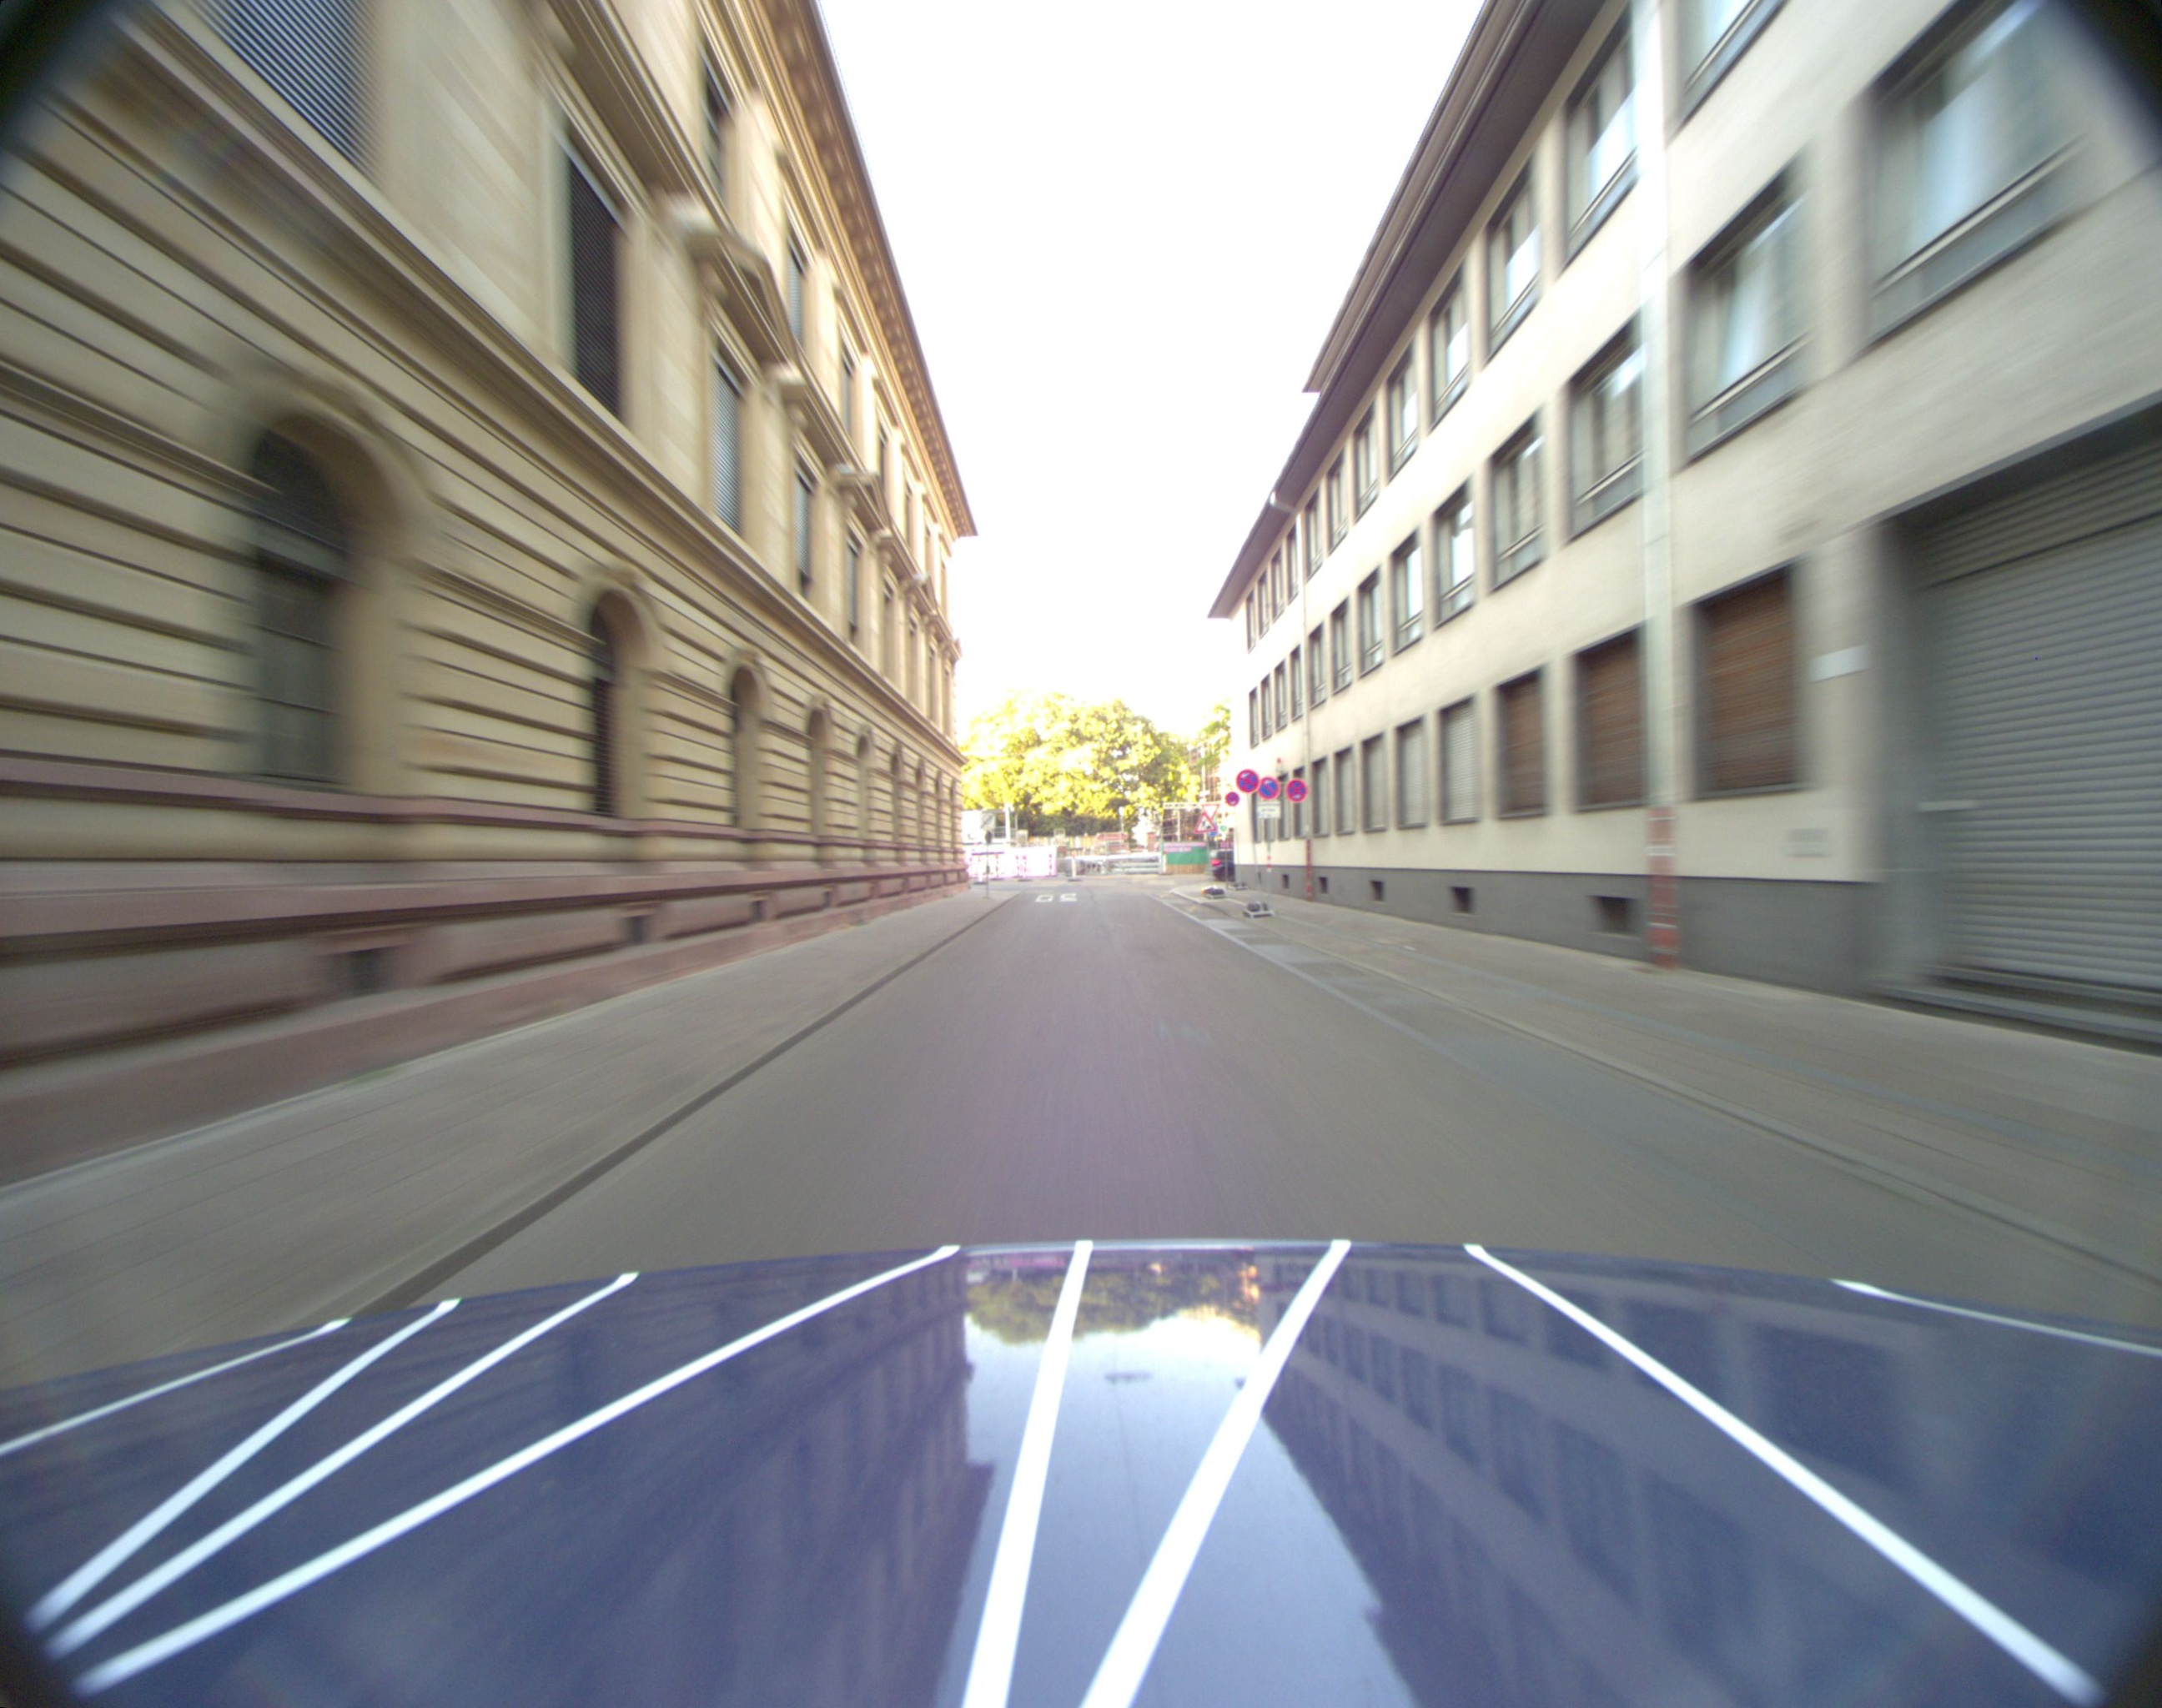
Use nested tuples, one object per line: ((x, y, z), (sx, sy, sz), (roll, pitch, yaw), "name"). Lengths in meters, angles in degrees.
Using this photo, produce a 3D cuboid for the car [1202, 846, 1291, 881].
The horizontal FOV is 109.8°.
((8.561, 0.472, 39.670), (4.248, 1.648, 1.937), (-2, 1, 3), "car")
